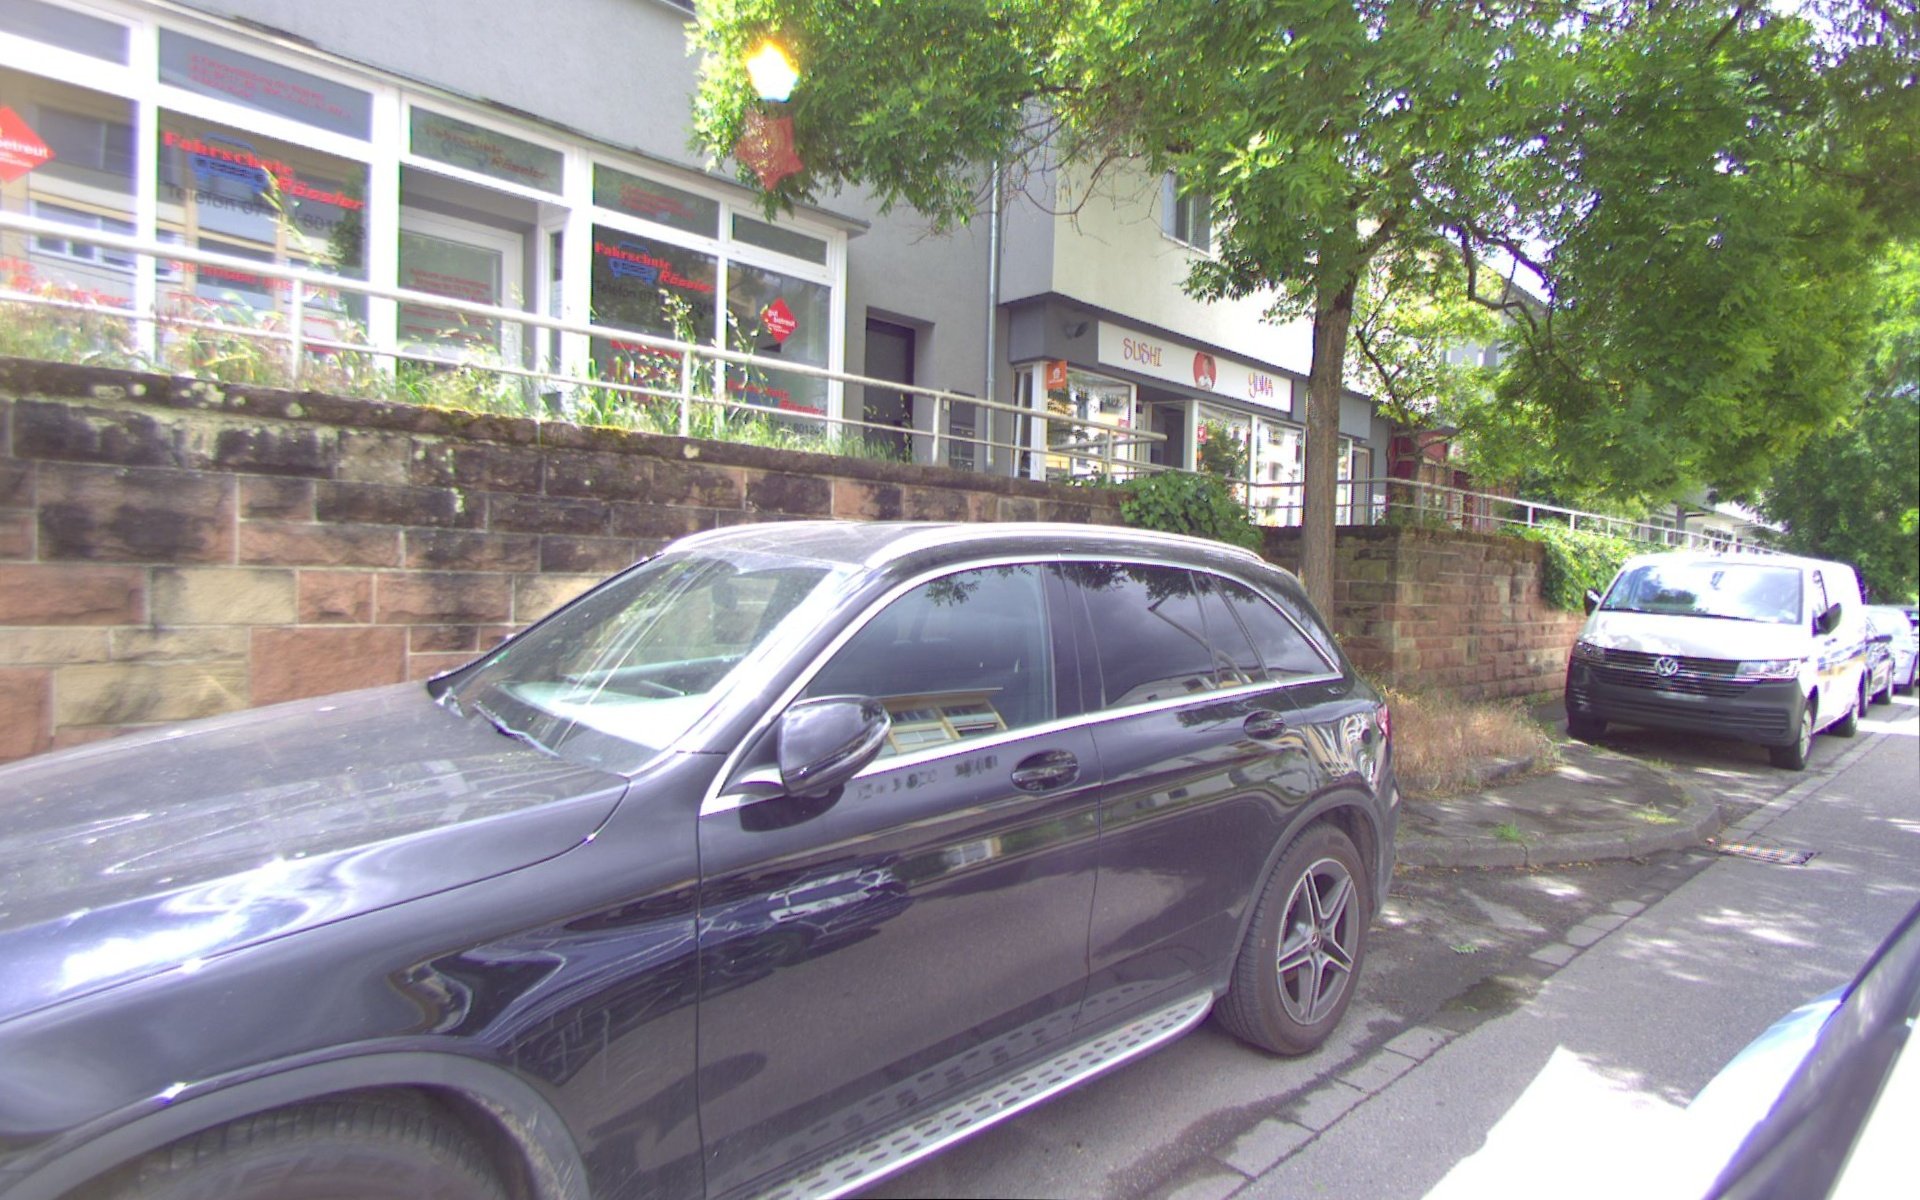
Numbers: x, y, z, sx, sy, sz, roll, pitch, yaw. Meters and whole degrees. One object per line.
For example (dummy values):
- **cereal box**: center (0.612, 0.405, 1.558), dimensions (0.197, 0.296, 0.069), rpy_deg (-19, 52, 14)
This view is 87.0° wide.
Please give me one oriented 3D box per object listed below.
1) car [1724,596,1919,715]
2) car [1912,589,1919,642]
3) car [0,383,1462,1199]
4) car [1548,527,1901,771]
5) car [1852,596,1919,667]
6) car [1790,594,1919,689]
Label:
- **car**: center (12.386, 0.686, 14.482), dimensions (3.669, 1.446, 1.577), rpy_deg (0, 2, -41)
- **car**: center (32.316, 0.509, 32.833), dimensions (4.078, 1.674, 1.816), rpy_deg (0, 2, -44)
- **car**: center (-0.430, 0.515, 2.913), dimensions (4.371, 1.637, 1.793), rpy_deg (0, 4, -42)
- **car**: center (8.201, 0.367, 10.658), dimensions (4.925, 1.994, 1.977), rpy_deg (0, 1, -41)
- **car**: center (21.369, 0.660, 22.487), dimensions (4.075, 1.446, 1.783), rpy_deg (0, 2, -41)
- **car**: center (16.149, 0.650, 17.904), dimensions (4.076, 1.446, 1.782), rpy_deg (0, 2, -44)
